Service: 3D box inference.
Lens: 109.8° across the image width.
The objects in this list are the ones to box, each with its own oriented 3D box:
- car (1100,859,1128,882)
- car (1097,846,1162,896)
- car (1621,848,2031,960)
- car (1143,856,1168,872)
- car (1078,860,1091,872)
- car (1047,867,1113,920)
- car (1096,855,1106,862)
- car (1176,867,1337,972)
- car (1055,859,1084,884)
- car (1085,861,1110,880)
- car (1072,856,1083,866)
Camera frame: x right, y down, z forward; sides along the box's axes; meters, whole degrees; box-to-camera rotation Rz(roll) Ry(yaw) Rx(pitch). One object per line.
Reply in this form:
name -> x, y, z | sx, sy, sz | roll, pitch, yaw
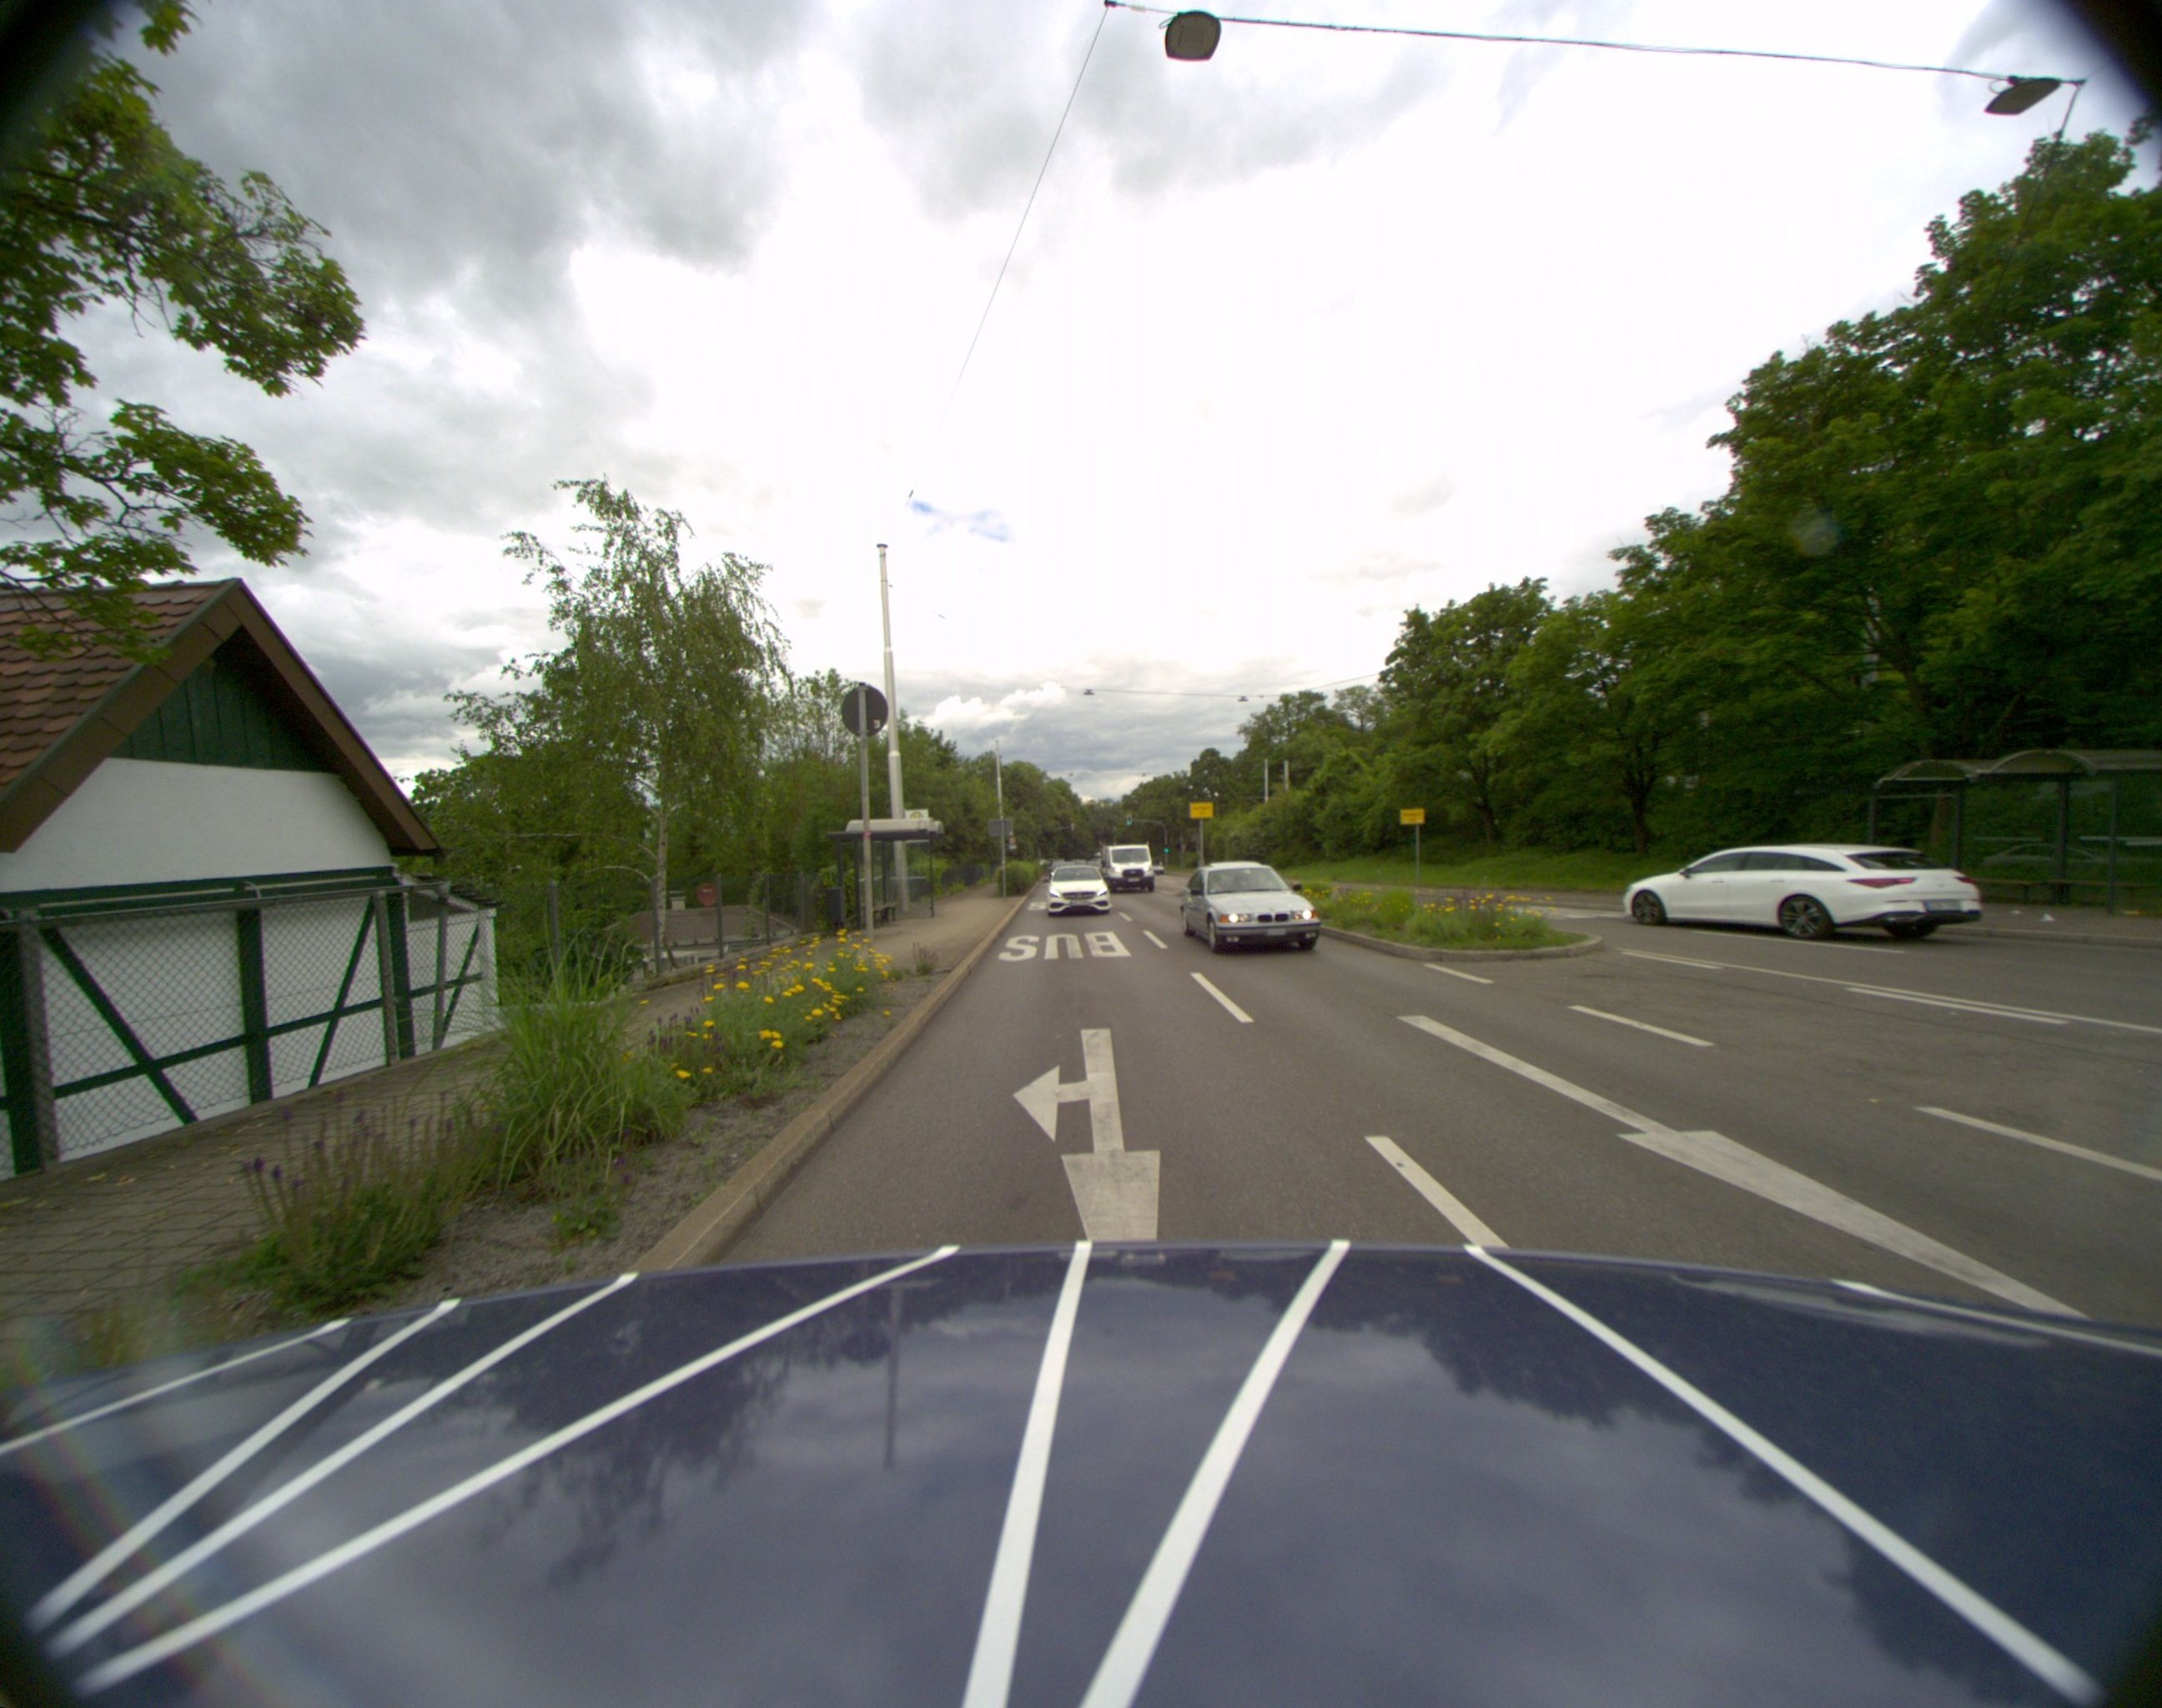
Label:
car -> 2.289, 1.124, 53.877 | 1.678, 1.532, 4.553 | -1, 0, -1
car -> 2.208, 0.751, 36.721 | 2.254, 2.113, 6.667 | -2, 0, -3
car -> 11.218, 0.654, 12.053 | 1.722, 1.385, 4.607 | -2, 0, -5
car -> 7.497, 0.998, 76.504 | 1.734, 1.532, 4.042 | -2, 0, -5
car -> 0.444, 1.603, 101.075 | 1.678, 1.532, 4.614 | -1, 0, -1
car -> -0.098, 1.121, 23.225 | 1.807, 1.385, 4.283 | -1, 0, -2
car -> 5.319, 1.167, 201.046 | 1.761, 1.863, 4.620 | -1, 0, 13
car -> 2.825, 0.990, 13.273 | 1.757, 1.385, 4.615 | -3, 0, 1
car -> -0.811, 1.108, 49.651 | 1.678, 1.532, 4.614 | -1, 0, -3
car -> 1.360, 1.395, 64.937 | 1.678, 1.532, 4.614 | -2, 0, -3
car -> -0.576, 1.208, 132.175 | 1.678, 1.532, 4.614 | -1, 0, -2
